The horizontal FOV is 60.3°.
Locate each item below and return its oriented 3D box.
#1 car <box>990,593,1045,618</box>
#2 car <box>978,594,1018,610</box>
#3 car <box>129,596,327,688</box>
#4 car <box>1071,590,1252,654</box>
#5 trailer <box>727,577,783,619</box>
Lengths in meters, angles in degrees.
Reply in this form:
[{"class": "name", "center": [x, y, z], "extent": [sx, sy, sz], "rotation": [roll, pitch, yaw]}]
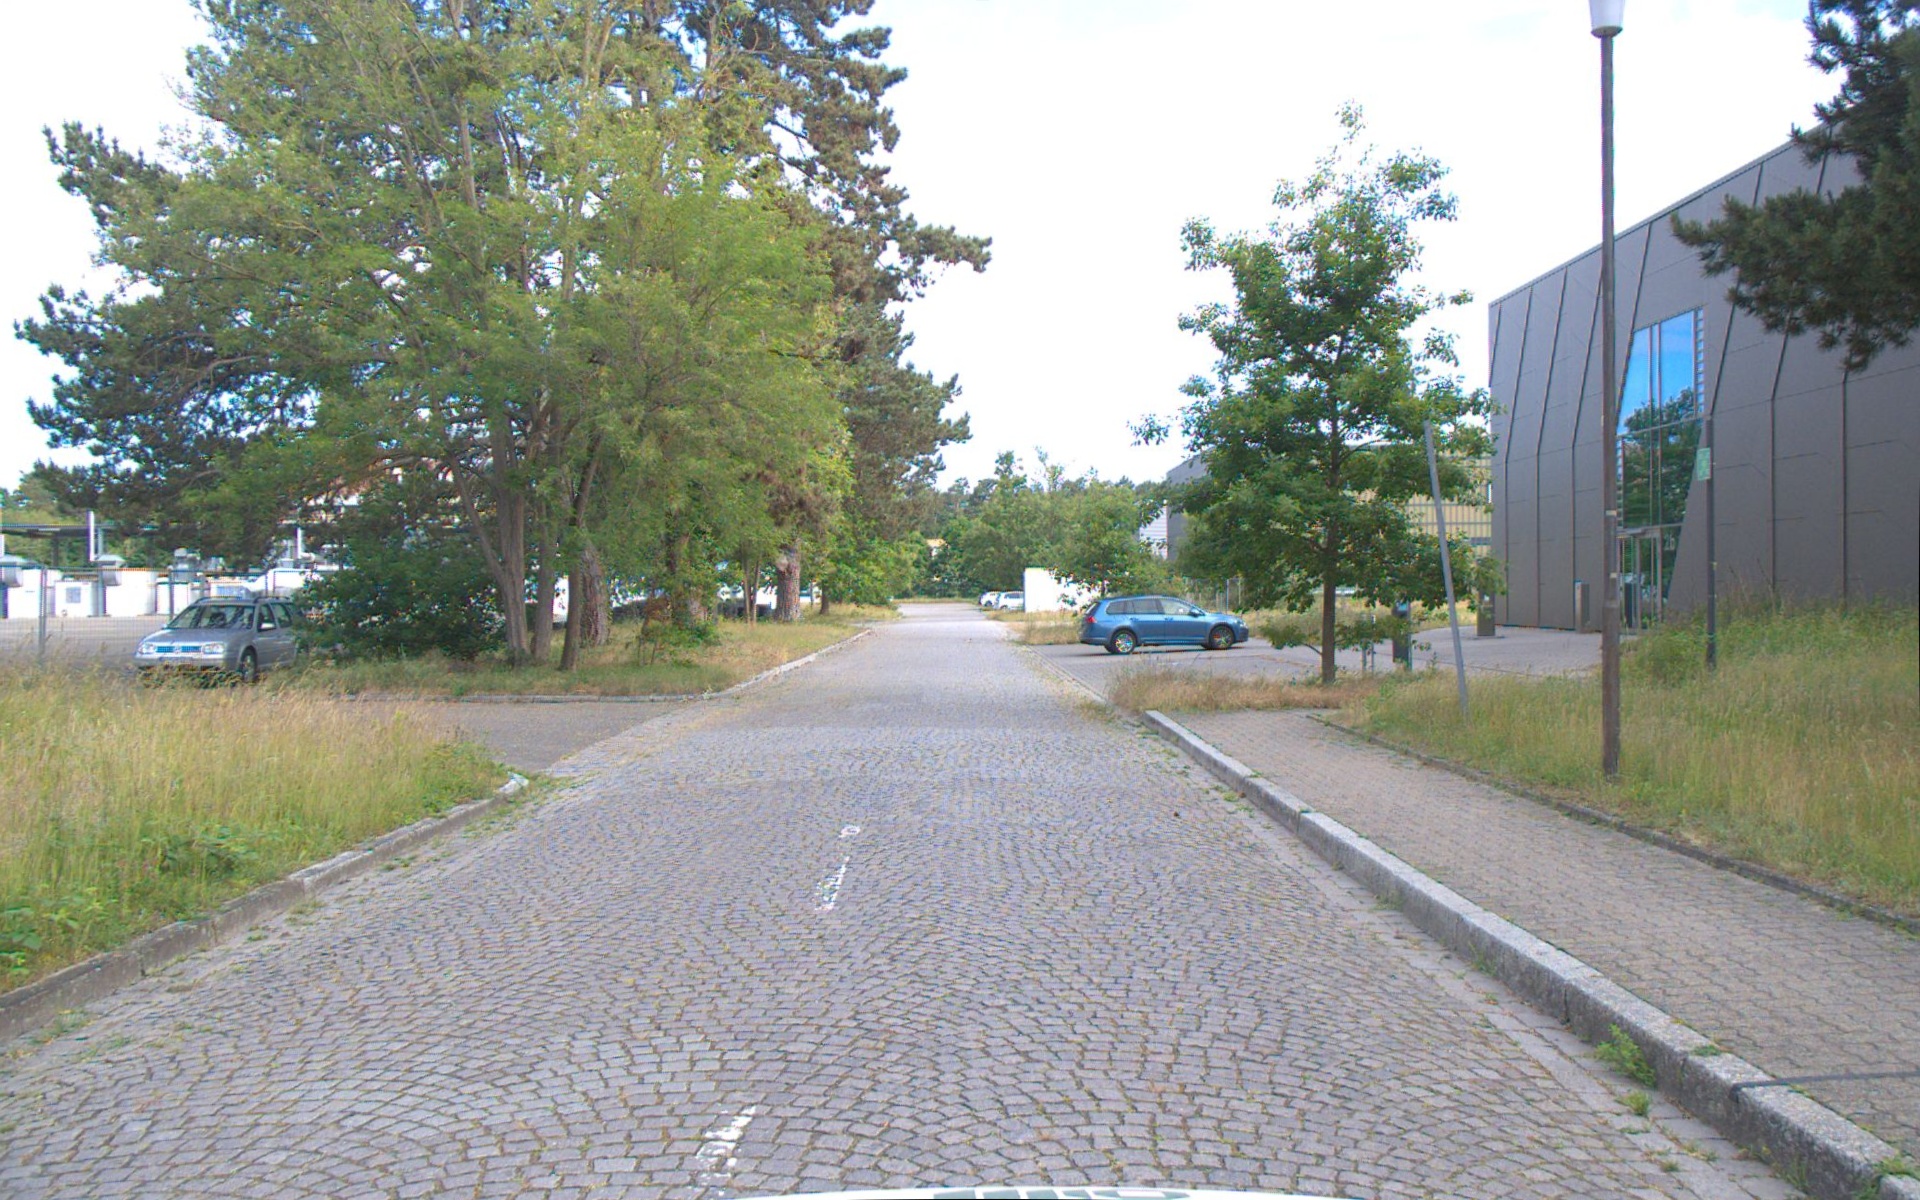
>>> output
[{"class": "car", "center": [4.066, 0.396, 117.264], "extent": [3.773, 1.683, 1.685], "rotation": [-1, 0, -3]}, {"class": "car", "center": [3.780, 0.193, 163.411], "extent": [3.942, 1.528, 1.548], "rotation": [-1, 0, 0]}, {"class": "car", "center": [-12.692, 0.676, 28.991], "extent": [1.681, 1.463, 4.464], "rotation": [0, 0, -3]}, {"class": "car", "center": [5.287, 0.561, 43.734], "extent": [4.433, 1.468, 1.822], "rotation": [-2, 0, -4]}, {"class": "trailer", "center": [-15.998, -0.181, 129.642], "extent": [3.093, 3.121, 8.785], "rotation": [0, 0, 1]}]
